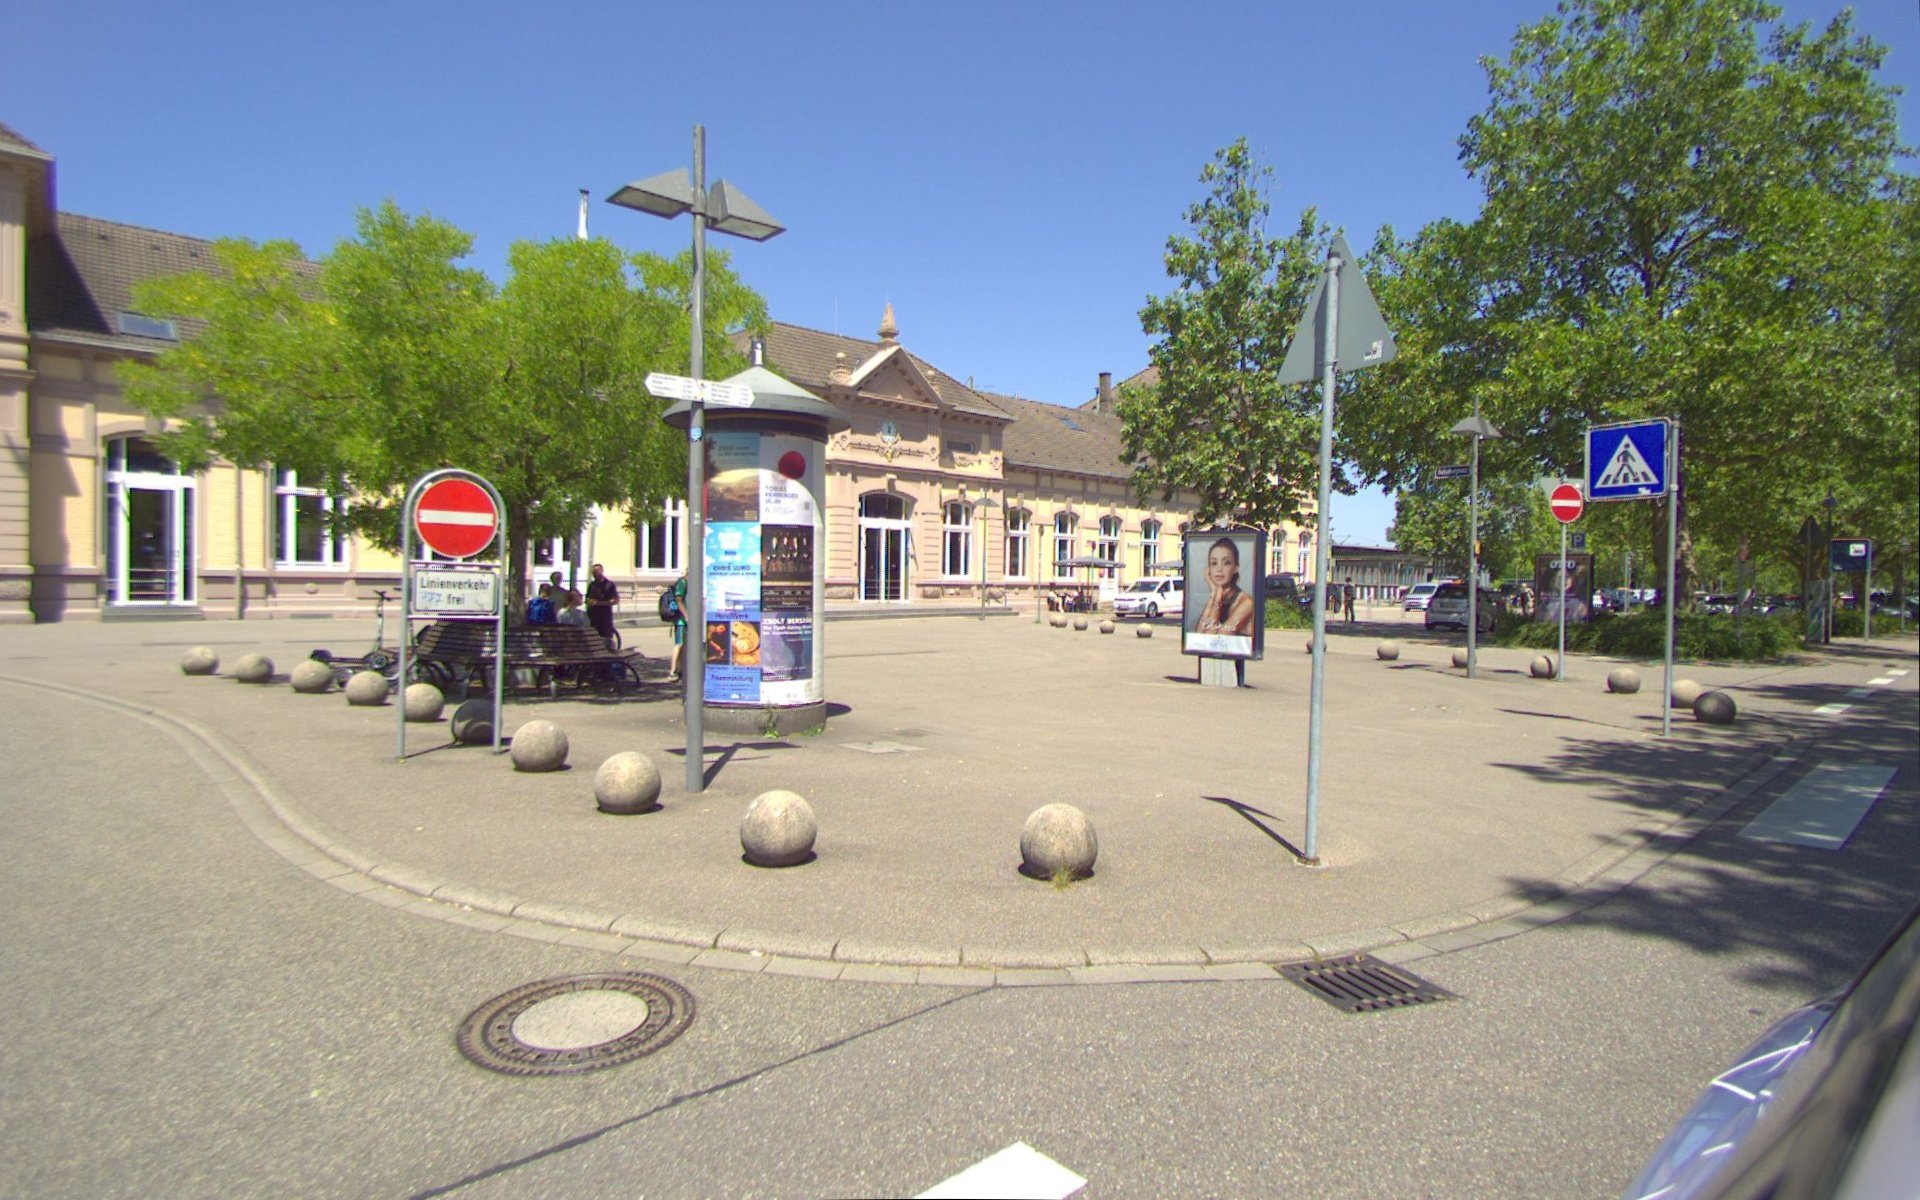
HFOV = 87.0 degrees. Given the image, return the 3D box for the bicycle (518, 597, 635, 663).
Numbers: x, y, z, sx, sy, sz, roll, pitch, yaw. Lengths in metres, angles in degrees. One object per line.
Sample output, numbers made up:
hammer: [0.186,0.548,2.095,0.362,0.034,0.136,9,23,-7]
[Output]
bicycle: [-6.709,0.507,17.779,1.917,1.073,0.420,-1,1,-45]

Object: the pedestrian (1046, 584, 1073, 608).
pedestrian: [4.634,-0.184,46.982,0.879,1.093,0.838,4,2,44]

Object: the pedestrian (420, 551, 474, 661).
pedestrian: [-8.157,0.090,16.107,0.551,1.706,0.580,1,1,36]

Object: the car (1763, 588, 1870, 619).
car: [43.823,0.164,51.874,3.828,1.478,1.626,1,1,20]

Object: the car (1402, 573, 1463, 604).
car: [29.564,-0.721,63.267,1.997,1.864,5.237,-1,0,42]

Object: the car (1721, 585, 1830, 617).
car: [40.351,0.018,50.185,3.828,1.478,1.626,1,1,20]

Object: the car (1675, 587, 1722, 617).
car: [49.844,0.113,68.402,1.720,1.917,3.968,1,1,24]

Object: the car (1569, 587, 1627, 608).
car: [44.806,-0.216,71.160,1.769,1.420,3.515,1,1,-2]

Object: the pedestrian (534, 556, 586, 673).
pedestrian: [-6.157,0.208,15.588,0.505,1.761,0.567,1,1,19]

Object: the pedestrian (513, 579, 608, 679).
pedestrian: [-5.823,0.396,14.777,0.901,1.403,0.938,1,1,18]

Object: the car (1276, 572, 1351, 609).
car: [18.772,-0.460,53.574,2.073,1.864,4.766,0,0,42]

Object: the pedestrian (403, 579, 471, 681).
pedestrian: [-7.305,0.407,14.148,0.592,1.381,0.596,1,0,20]

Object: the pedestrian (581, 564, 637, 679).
pedestrian: [-5.483,0.319,15.832,0.578,1.761,0.595,1,1,23]

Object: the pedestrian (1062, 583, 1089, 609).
pedestrian: [5.297,-0.186,46.316,0.879,1.176,0.838,3,2,44]

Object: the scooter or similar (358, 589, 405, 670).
scooter or similar: [-8.594,0.415,15.025,1.024,1.153,0.290,1,1,41]

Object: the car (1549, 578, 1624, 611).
car: [34.584,-0.348,55.999,1.768,1.624,4.063,-1,2,2]

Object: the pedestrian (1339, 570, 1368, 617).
pedestrian: [14.838,-0.260,38.152,0.759,1.738,0.815,1,1,1]

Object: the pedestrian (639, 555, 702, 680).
pedestrian: [-4.256,0.237,14.886,0.686,1.786,0.581,1,1,23]

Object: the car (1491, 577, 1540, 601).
car: [43.253,-0.852,78.736,4.174,1.812,1.996,-2,0,-41]

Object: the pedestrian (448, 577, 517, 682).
pedestrian: [-6.491,0.384,13.767,0.592,1.381,0.596,1,0,20]

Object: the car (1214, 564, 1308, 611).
car: [14.660,-0.554,49.032,2.086,2.151,5.736,0,0,42]

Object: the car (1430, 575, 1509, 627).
car: [16.949,0.006,33.607,1.596,1.613,3.059,1,1,42]

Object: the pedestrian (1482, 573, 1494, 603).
pedestrian: [36.319,-0.824,69.614,0.626,2.015,0.608,-1,-1,43]

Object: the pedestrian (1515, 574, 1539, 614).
pedestrian: [22.508,-0.235,40.198,0.579,1.567,0.610,1,1,1]

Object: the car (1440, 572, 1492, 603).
car: [33.997,-0.807,67.969,1.997,2.015,4.532,-1,0,42]

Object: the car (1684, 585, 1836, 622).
car: [33.487,0.092,42.529,4.736,1.434,1.768,1,1,29]

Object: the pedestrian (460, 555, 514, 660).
pedestrian: [-7.846,0.115,16.786,0.615,1.706,0.583,1,1,36]

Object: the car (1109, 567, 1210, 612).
car: [8.752,-0.424,44.171,5.055,1.889,1.810,1,0,-45]

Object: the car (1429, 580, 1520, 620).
car: [22.734,-0.034,44.903,1.767,1.562,4.530,-1,2,1]
